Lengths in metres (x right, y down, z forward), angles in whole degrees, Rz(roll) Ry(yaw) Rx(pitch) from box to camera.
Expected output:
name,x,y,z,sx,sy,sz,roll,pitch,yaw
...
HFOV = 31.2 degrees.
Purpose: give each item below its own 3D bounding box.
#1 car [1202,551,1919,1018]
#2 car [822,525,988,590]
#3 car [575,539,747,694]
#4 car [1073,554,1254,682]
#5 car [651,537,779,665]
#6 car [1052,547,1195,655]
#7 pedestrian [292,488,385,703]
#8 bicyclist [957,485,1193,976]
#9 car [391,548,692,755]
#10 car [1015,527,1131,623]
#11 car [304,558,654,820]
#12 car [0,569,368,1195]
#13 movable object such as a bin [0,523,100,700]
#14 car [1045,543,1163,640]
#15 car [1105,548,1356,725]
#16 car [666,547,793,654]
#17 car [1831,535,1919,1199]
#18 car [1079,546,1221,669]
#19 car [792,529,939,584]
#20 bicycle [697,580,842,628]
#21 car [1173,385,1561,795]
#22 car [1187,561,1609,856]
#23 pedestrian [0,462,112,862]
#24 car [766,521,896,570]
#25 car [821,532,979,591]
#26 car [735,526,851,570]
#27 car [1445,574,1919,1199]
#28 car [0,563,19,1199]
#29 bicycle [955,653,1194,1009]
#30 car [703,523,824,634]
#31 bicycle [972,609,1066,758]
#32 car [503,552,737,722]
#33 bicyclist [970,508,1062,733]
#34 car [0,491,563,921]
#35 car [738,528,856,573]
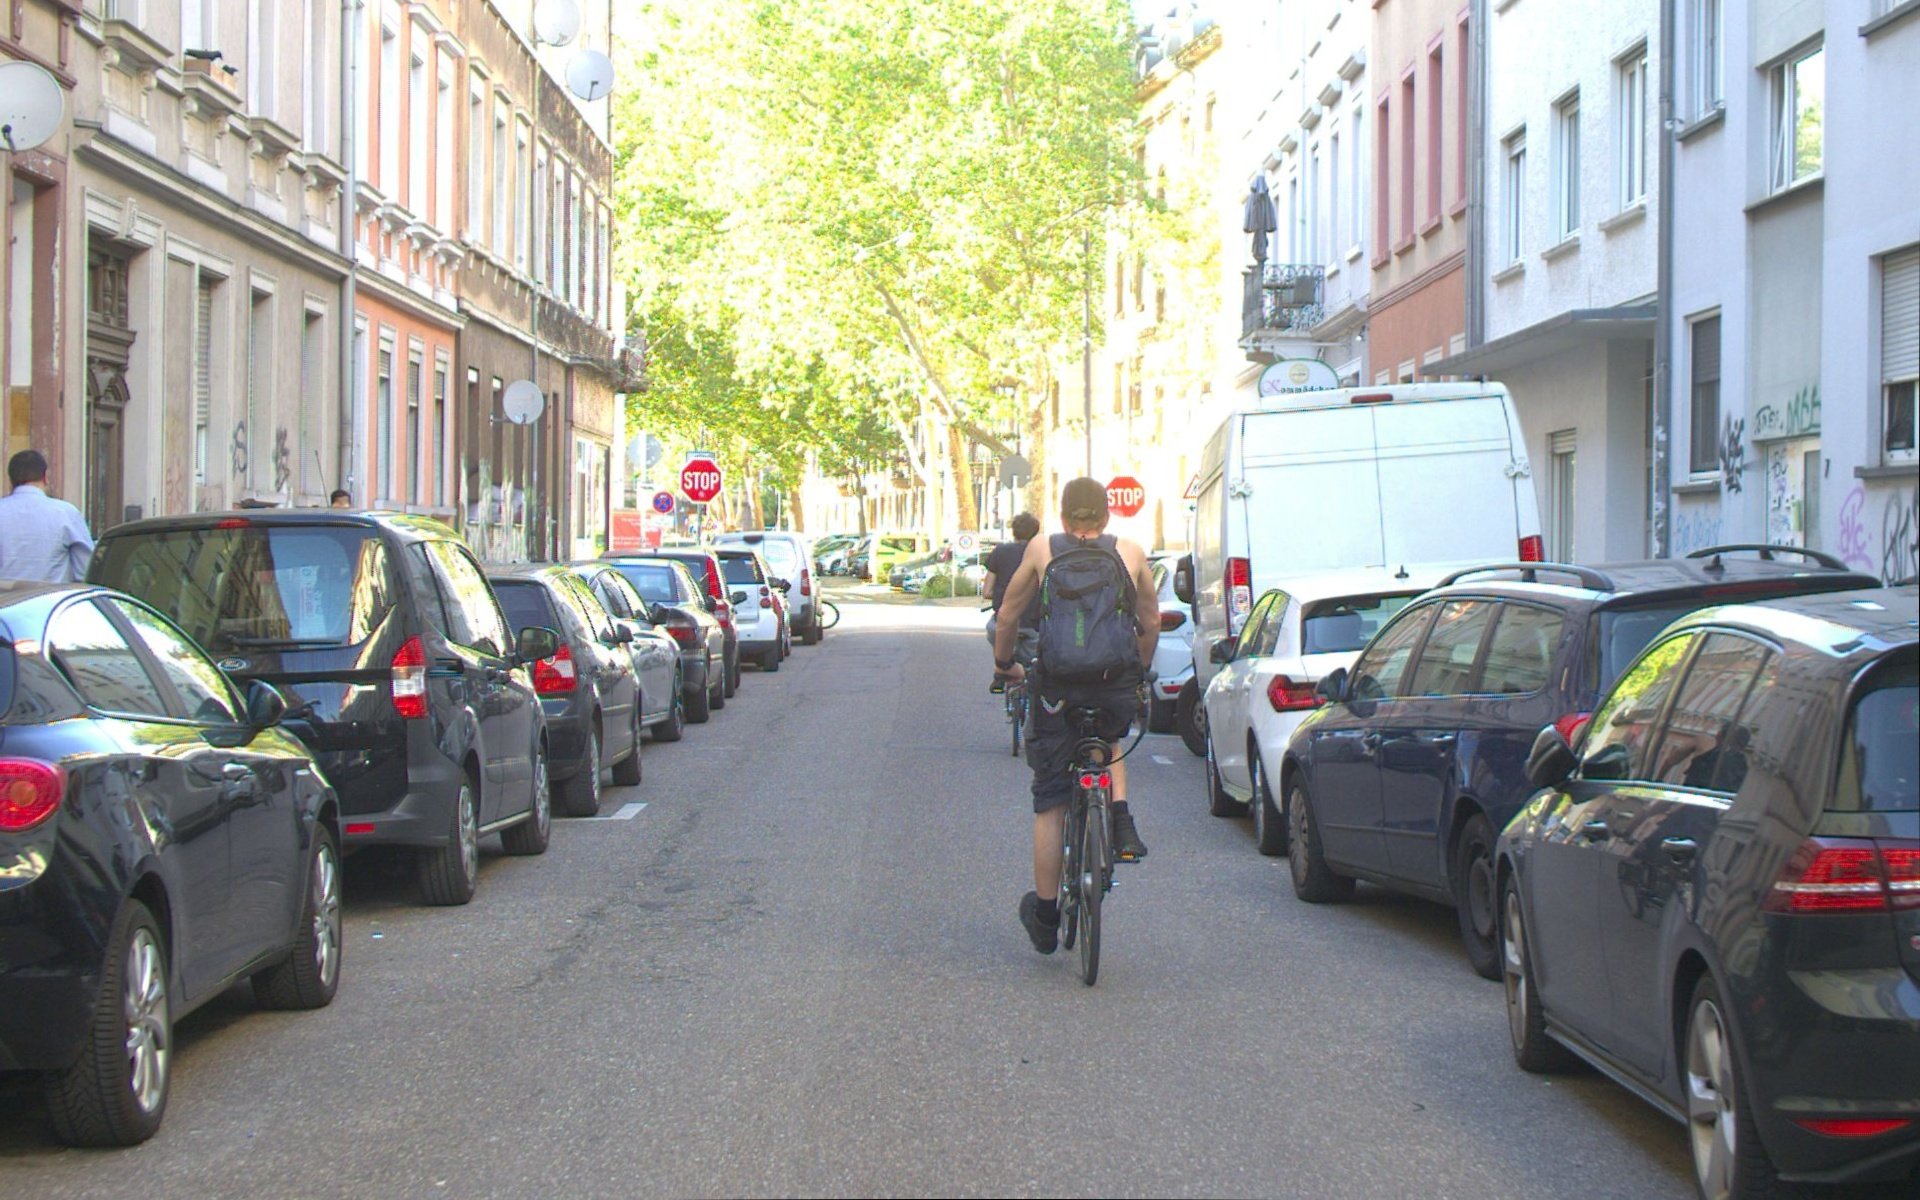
name,x,y,z,sx,sy,sz,roll,pitch,yaw
car,2.463,0.603,14.250,1.811,1.473,4.610,-3,2,-10
car,-1.531,-1.173,94.781,4.468,1.753,1.867,0,1,-4
car,-3.082,0.134,35.942,1.604,1.525,3.379,-1,1,-2
car,2.232,0.167,38.588,1.657,1.334,4.001,0,1,-2
car,-3.060,-0.018,43.317,1.544,1.545,3.466,0,1,-3
car,2.298,-0.019,49.137,1.710,1.465,4.001,0,1,-2
pedestrian,-5.482,-0.045,30.343,0.610,1.851,0.754,3,1,-1
bicyclist,0.396,0.441,12.438,0.740,1.673,1.117,2,1,-1
car,-3.071,0.328,25.924,1.674,1.425,3.888,0,1,2
car,2.116,-0.502,65.193,1.893,1.763,4.001,0,1,-3
car,-2.838,0.472,20.948,1.592,1.435,3.654,0,1,1
car,-2.928,0.639,10.011,1.736,1.422,4.000,0,1,0
movable object such as a bin,-5.821,0.052,21.121,0.789,1.021,0.757,5,1,2
car,2.326,-0.157,56.244,1.652,1.525,3.575,0,1,-2
car,2.357,0.274,30.883,1.731,1.465,4.022,0,1,-3
car,-3.124,-0.020,47.082,1.552,1.395,3.668,0,1,-1
car,2.534,0.703,4.324,1.693,1.602,4.375,-1,1,-1
car,2.370,0.062,43.679,1.592,1.487,3.876,0,1,0
car,-2.935,-1.347,106.309,4.468,1.690,1.867,0,1,-4
bicycle,-3.604,0.073,65.067,2.715,0.889,0.619,0,1,-3
car,2.708,-0.118,24.345,2.204,2.542,6.036,0,1,2
car,2.294,0.516,18.912,1.725,1.424,3.833,0,1,-2
pedestrian,-4.417,0.268,16.053,0.651,1.811,0.754,3,1,0
car,-4.514,-1.886,119.668,4.468,1.690,1.867,0,1,-4
car,-1.753,-1.127,99.772,4.468,1.690,1.867,0,1,-4
car,-6.543,-2.034,134.361,4.468,1.690,1.867,0,1,-4
car,2.476,0.695,9.077,1.746,1.480,4.243,0,1,-1
car,-2.839,0.705,4.949,1.862,1.435,4.646,0,2,-2
bicycle,0.381,0.789,12.527,0.740,1.097,2.042,2,1,-1
car,-3.134,-0.377,55.516,1.787,1.731,3.876,0,1,-1
bicycle,0.428,0.609,25.865,0.664,1.034,1.959,0,1,0
car,-2.990,0.279,30.984,1.706,1.409,4.302,0,1,0
bicyclist,0.410,0.144,25.754,0.669,1.653,0.877,0,1,0
car,-2.994,0.398,15.968,1.801,1.692,4.000,-2,1,0
car,-6.260,-1.909,131.991,4.468,1.690,1.867,0,1,-4
